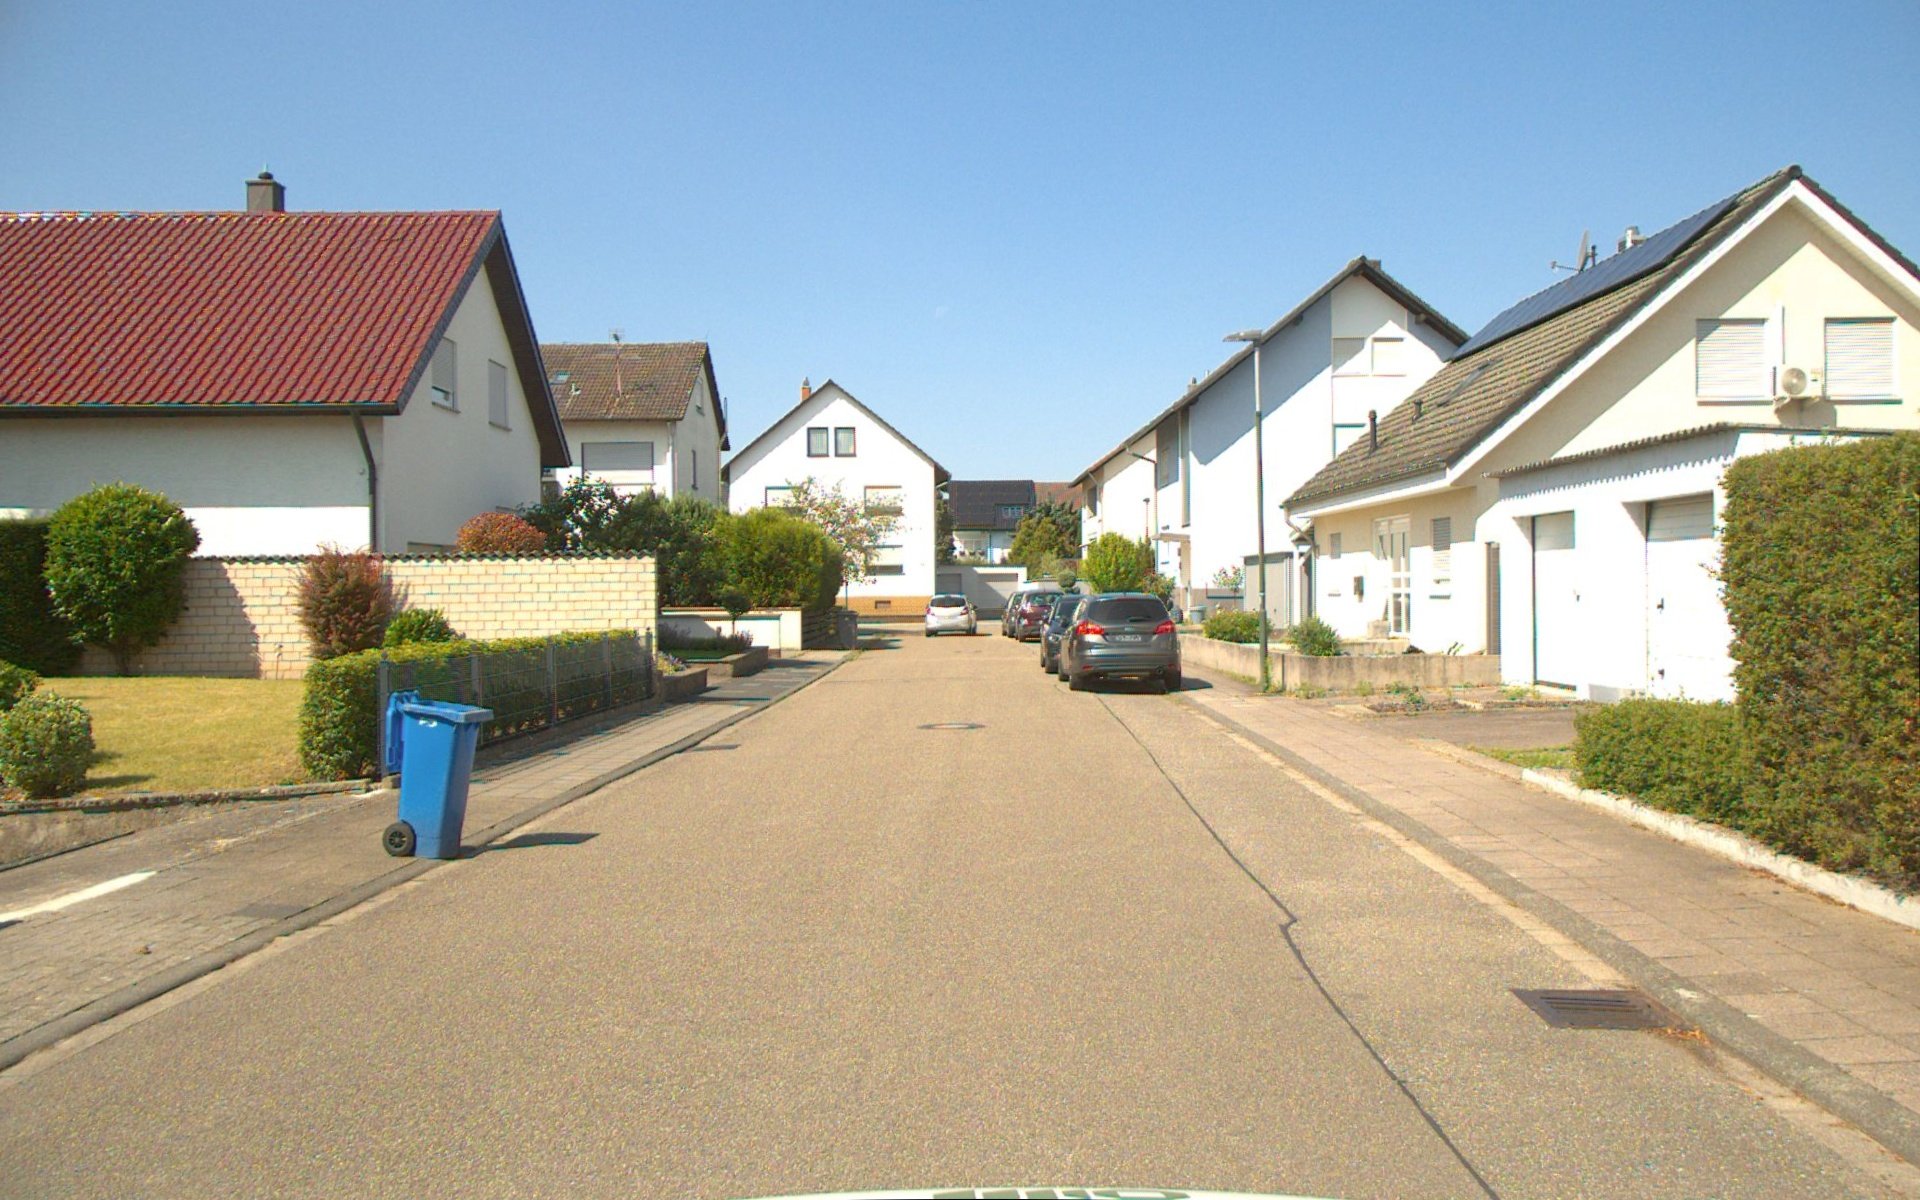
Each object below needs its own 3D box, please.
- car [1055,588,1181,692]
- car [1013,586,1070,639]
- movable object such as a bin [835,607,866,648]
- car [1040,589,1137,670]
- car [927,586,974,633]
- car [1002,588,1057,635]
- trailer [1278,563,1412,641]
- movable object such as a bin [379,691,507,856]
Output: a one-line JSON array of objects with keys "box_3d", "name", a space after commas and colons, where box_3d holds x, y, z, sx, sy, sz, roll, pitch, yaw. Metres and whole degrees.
[{"box_3d": [2.498, 0.587, 26.941, 1.609, 1.504, 4.000, 0, 1, -1], "name": "car"}, {"box_3d": [2.591, 0.374, 53.470, 1.611, 1.609, 4.147, -1, 1, 0], "name": "car"}, {"box_3d": [-3.020, 0.763, 45.769, 0.802, 1.082, 0.611, -2, 0, -1], "name": "movable object such as a bin"}, {"box_3d": [2.504, 0.537, 33.000, 1.682, 1.463, 4.504, -1, 0, 1], "name": "car"}, {"box_3d": [-0.329, 0.330, 60.096, 1.611, 1.609, 3.809, -1, 1, 0], "name": "car"}, {"box_3d": [2.425, 0.373, 58.456, 1.612, 1.573, 4.046, -1, 1, -2], "name": "car"}, {"box_3d": [8.978, 0.040, 38.681, 2.776, 1.719, 1.402, -1, 0, 0], "name": "trailer"}, {"box_3d": [-3.121, 1.036, 10.022, 0.571, 0.932, 0.598, 0, 0, 1], "name": "movable object such as a bin"}]
